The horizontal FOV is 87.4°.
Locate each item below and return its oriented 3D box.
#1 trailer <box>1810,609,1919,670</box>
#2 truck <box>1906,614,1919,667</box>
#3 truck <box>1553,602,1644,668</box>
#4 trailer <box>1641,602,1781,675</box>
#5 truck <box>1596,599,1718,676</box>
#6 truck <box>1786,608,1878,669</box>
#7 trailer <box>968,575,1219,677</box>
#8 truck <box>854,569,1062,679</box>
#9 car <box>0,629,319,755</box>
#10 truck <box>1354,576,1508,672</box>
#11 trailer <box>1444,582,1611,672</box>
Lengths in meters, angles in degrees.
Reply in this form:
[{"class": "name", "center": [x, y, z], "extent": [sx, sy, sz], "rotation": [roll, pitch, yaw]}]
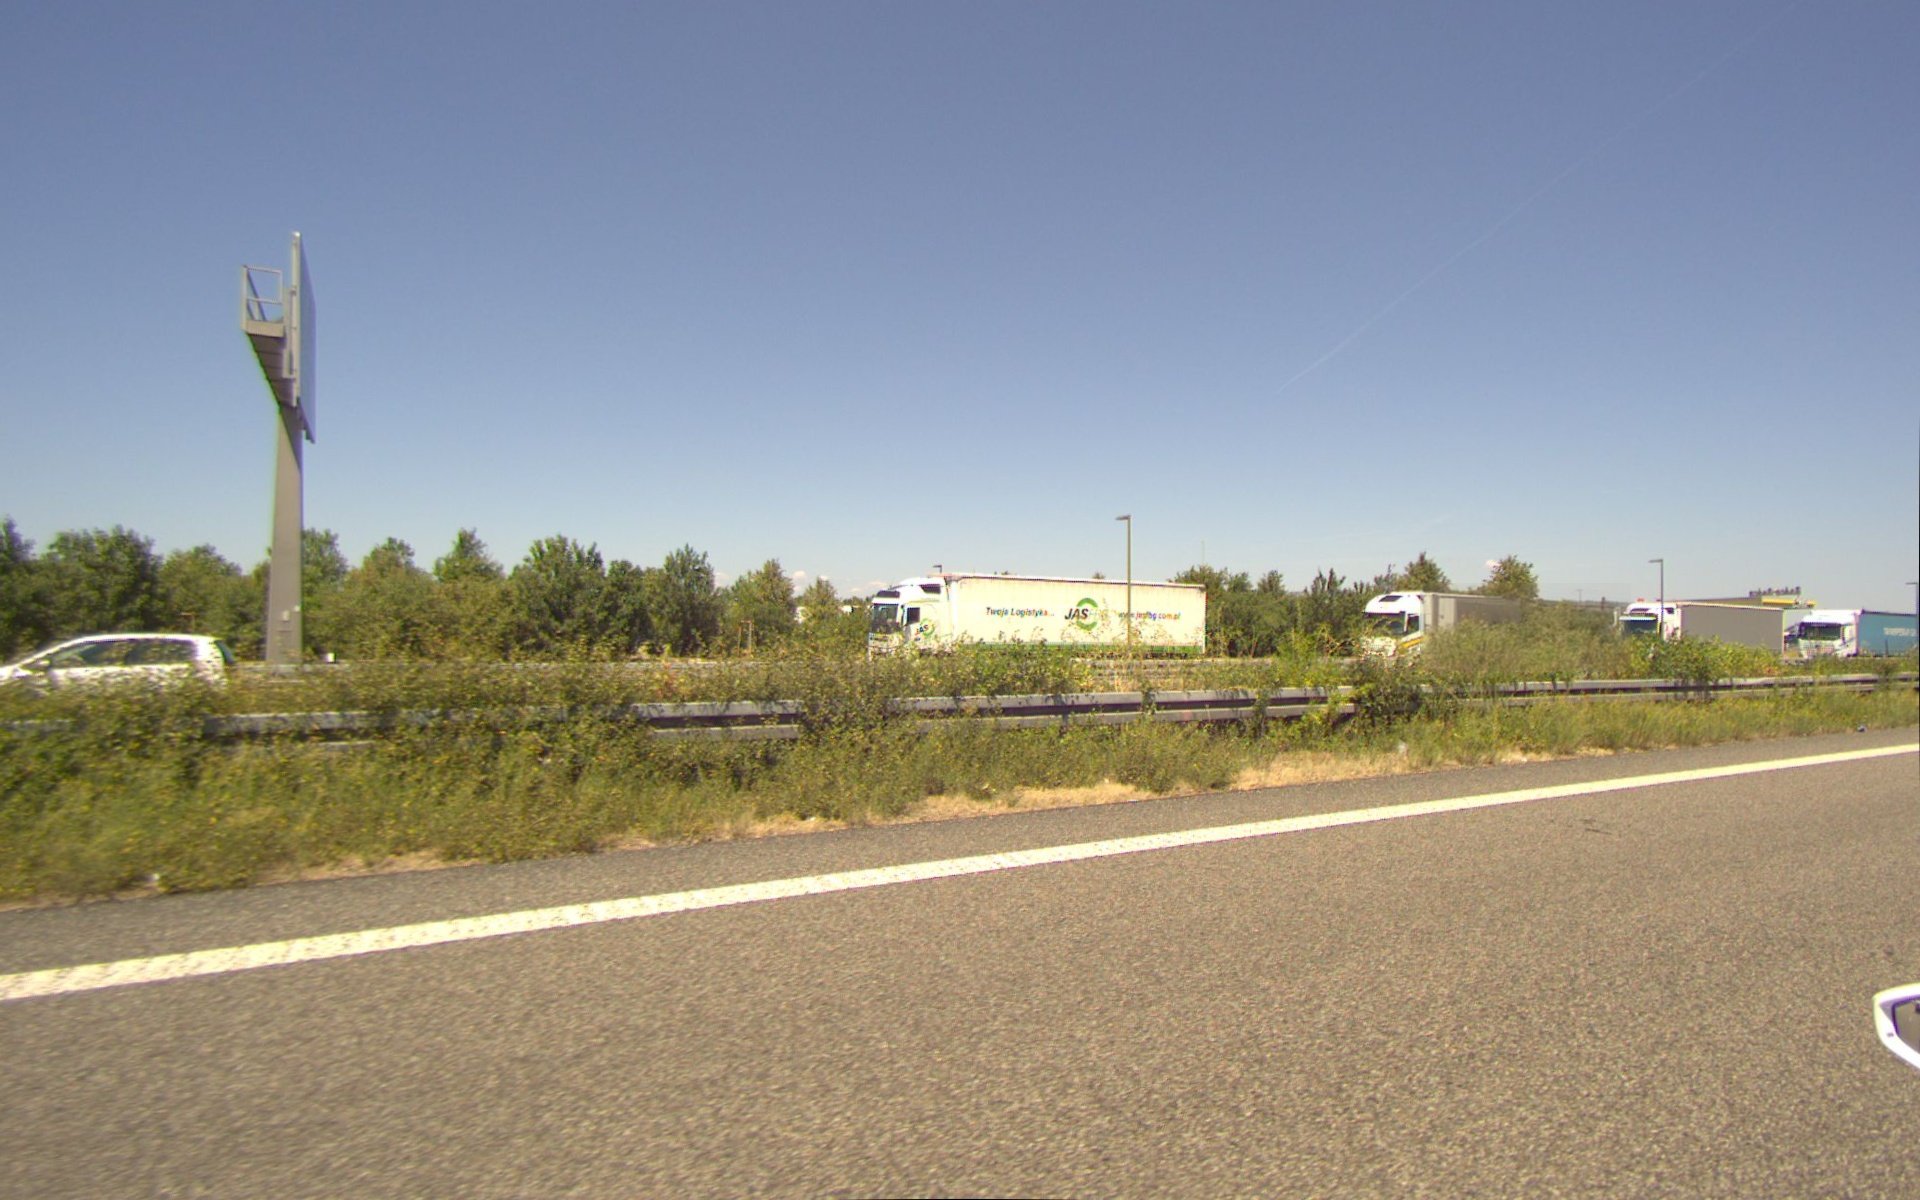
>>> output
[{"class": "trailer", "center": [67.421, 2.925, 74.621], "extent": [11.946, 4.204, 2.819], "rotation": [2, 0, -31]}, {"class": "truck", "center": [80.532, 3.377, 81.909], "extent": [7.827, 4.256, 2.819], "rotation": [2, 0, -31]}, {"class": "truck", "center": [41.745, 2.287, 65.673], "extent": [5.677, 4.059, 2.682], "rotation": [2, 0, -30]}, {"class": "trailer", "center": [46.891, 2.374, 62.579], "extent": [10.891, 4.213, 3.097], "rotation": [2, 0, -32]}, {"class": "truck", "center": [40.900, 2.178, 58.873], "extent": [7.420, 4.213, 3.100], "rotation": [2, 0, -31]}, {"class": "truck", "center": [61.840, 2.711, 71.223], "extent": [7.008, 4.127, 2.835], "rotation": [2, 0, -31]}, {"class": "trailer", "center": [6.284, 1.219, 45.715], "extent": [11.870, 4.211, 3.079], "rotation": [2, 0, -31]}, {"class": "truck", "center": [0.001, 1.020, 42.007], "extent": [8.219, 4.207, 3.080], "rotation": [2, 0, -30]}, {"class": "car", "center": [-13.014, 1.411, 16.239], "extent": [4.357, 1.770, 1.642], "rotation": [2, 0, -30]}, {"class": "truck", "center": [22.287, 1.173, 47.417], "extent": [7.844, 4.244, 2.569], "rotation": [2, -1, -31]}, {"class": "trailer", "center": [29.274, 1.401, 51.579], "extent": [10.393, 4.275, 2.586], "rotation": [2, 0, -31]}]
